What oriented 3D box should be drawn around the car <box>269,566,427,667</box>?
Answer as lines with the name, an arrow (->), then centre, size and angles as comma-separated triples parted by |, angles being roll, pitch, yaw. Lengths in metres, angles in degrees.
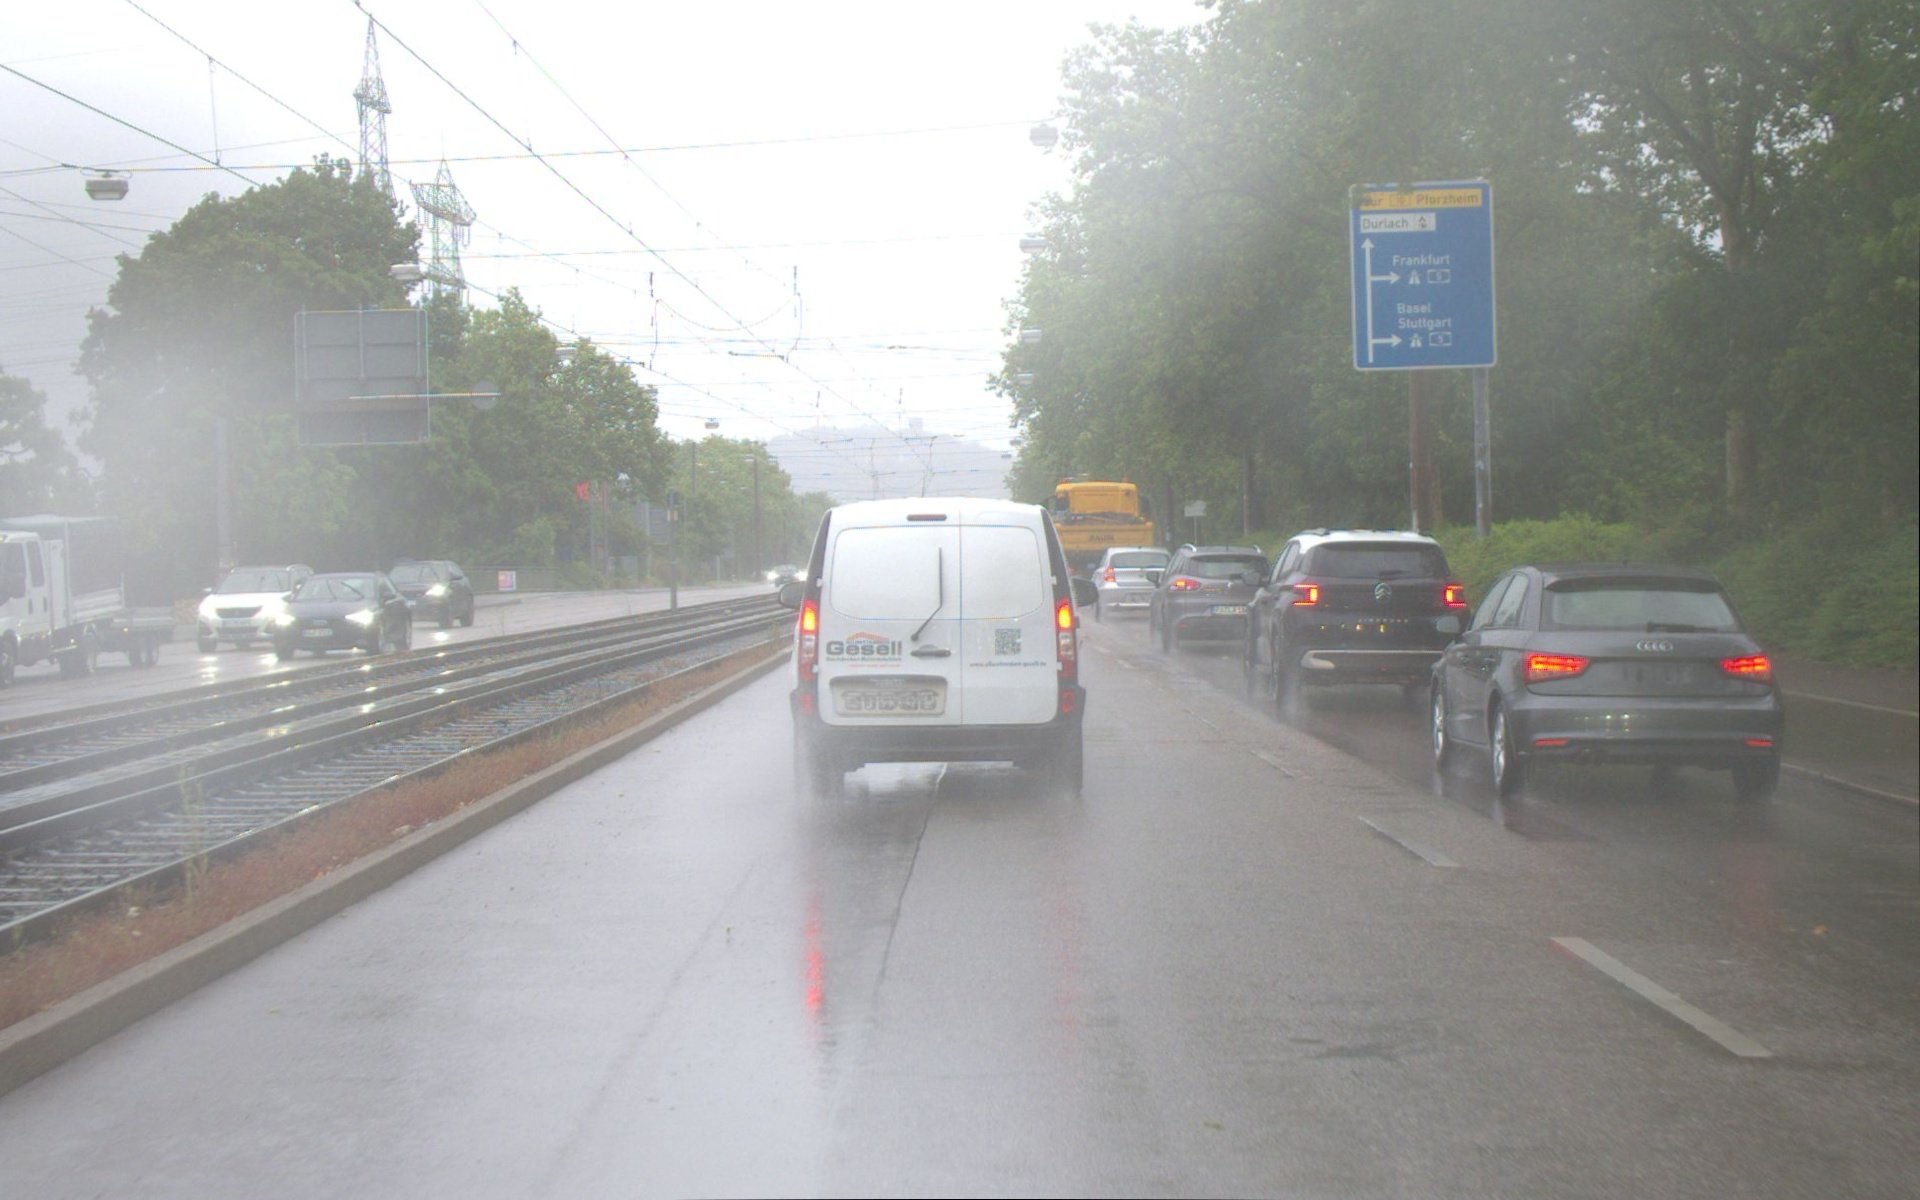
car -> -10.521, 0.247, 59.408 | 1.818, 1.617, 4.536 | -1, 1, 1

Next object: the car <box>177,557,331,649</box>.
car -> -13.616, 0.029, 66.570 | 1.771, 1.677, 4.689 | 1, 1, 3

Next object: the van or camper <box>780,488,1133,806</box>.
van or camper -> -0.078, 0.205, 21.571 | 1.993, 1.778, 4.001 | 0, 2, -2

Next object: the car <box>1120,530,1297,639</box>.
car -> 3.401, -0.248, 47.686 | 1.818, 1.409, 3.779 | 0, 2, -6

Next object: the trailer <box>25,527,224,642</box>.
trailer -> -13.639, -0.286, 56.339 | 2.119, 1.786, 3.836 | 1, 1, 4

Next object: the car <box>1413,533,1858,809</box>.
car -> 4.120, 0.368, 21.632 | 1.967, 1.523, 3.991 | 0, 2, -1

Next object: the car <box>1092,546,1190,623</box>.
car -> 3.517, -0.323, 67.476 | 1.818, 1.409, 3.778 | 0, 2, 2

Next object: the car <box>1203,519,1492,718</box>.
car -> 3.576, 0.107, 32.603 | 1.899, 1.711, 4.726 | 0, 2, -4

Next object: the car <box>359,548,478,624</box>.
car -> -13.318, -0.372, 84.844 | 1.993, 1.715, 4.882 | -2, 1, 1

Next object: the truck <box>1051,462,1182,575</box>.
truck -> 3.938, -2.086, 87.979 | 3.113, 2.763, 6.329 | -1, 1, 1

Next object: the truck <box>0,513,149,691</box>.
truck -> -14.149, -0.042, 50.112 | 2.435, 2.449, 7.218 | 1, 1, 4
